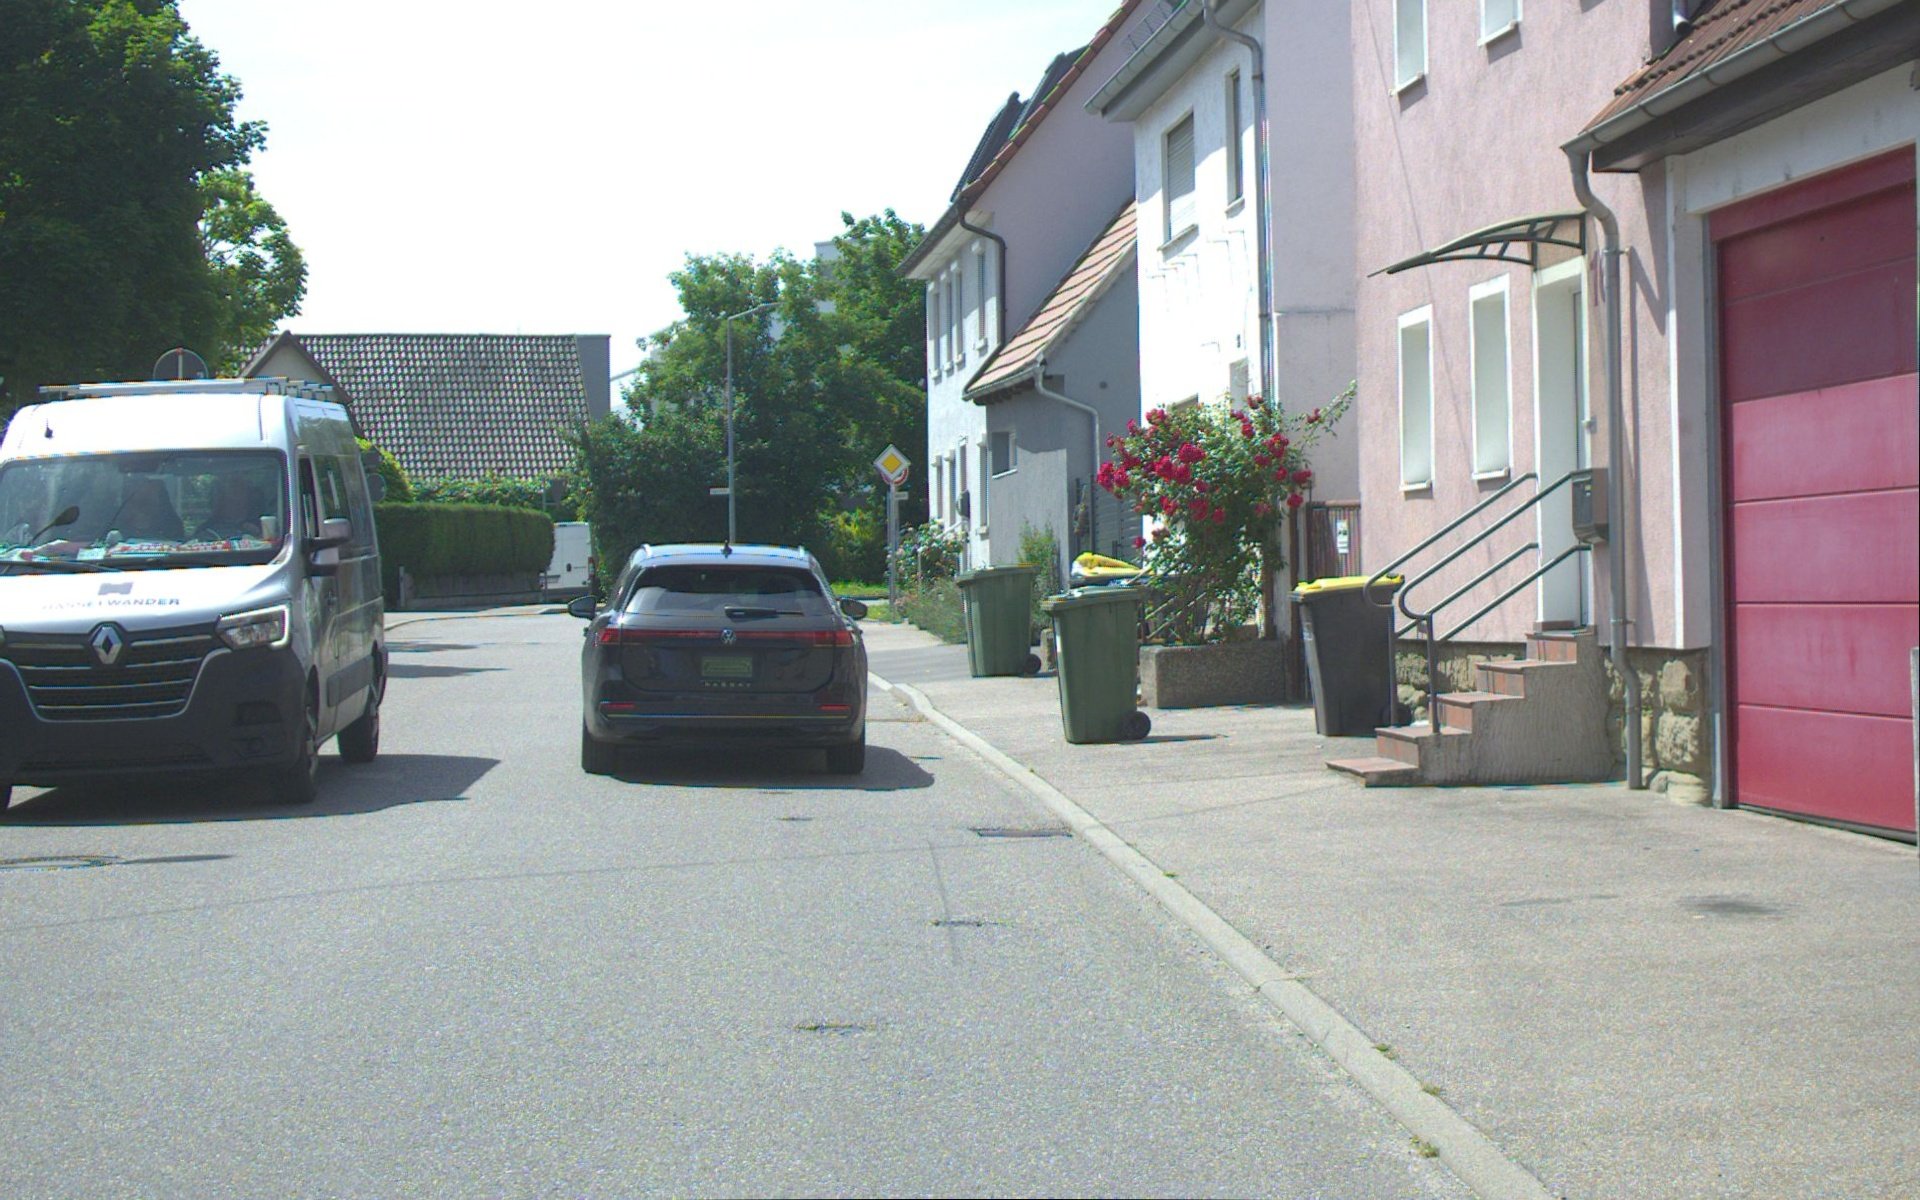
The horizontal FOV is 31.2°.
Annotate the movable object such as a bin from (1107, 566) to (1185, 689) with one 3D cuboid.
[{"bbox_3d":[1.611,0.236,29.779,0.592,1.036,0.530,-1,1,-5],"label":"movable object such as a bin"}]

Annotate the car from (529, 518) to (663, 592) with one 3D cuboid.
[{"bbox_3d":[-10.377,-1.314,98.408,2.129,2.007,4.934,-1,1,15],"label":"car"}]

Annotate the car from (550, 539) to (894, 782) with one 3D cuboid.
[{"bbox_3d":[-1.698,0.327,22.958,1.841,1.415,4.684,1,1,-9],"label":"car"}]

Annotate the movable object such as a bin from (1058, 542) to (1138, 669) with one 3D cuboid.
[{"bbox_3d":[1.318,0.047,32.909,0.664,1.190,0.660,-1,1,-5],"label":"movable object such as a bin"}]

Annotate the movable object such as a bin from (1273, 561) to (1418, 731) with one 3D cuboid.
[{"bbox_3d":[2.568,0.297,22.989,0.678,1.046,0.835,-6,2,-9],"label":"movable object such as a bin"}]

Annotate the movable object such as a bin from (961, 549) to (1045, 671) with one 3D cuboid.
[{"bbox_3d":[0.411,0.091,33.183,0.678,1.151,0.820,-1,1,-9],"label":"movable object such as a bin"}]

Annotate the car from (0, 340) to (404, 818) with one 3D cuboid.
[{"bbox_3d":[-4.865,-0.181,21.619,2.114,2.554,5.828,-2,1,-4],"label":"car"}]

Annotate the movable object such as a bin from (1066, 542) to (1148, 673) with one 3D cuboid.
[{"bbox_3d":[1.365,0.067,31.990,0.664,1.190,0.588,-1,1,-5],"label":"movable object such as a bin"}]

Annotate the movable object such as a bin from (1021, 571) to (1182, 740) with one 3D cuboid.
[{"bbox_3d":[0.981,0.379,24.076,0.875,1.071,0.873,-6,2,-9],"label":"movable object such as a bin"}]

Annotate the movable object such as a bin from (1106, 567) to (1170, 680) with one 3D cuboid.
[{"bbox_3d":[1.591,0.202,30.797,0.503,0.990,0.442,-1,1,-5],"label":"movable object such as a bin"}]

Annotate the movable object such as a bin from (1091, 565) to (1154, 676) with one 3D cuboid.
[{"bbox_3d":[1.489,0.186,31.463,0.503,0.990,0.442,-1,1,-5],"label":"movable object such as a bin"}]
